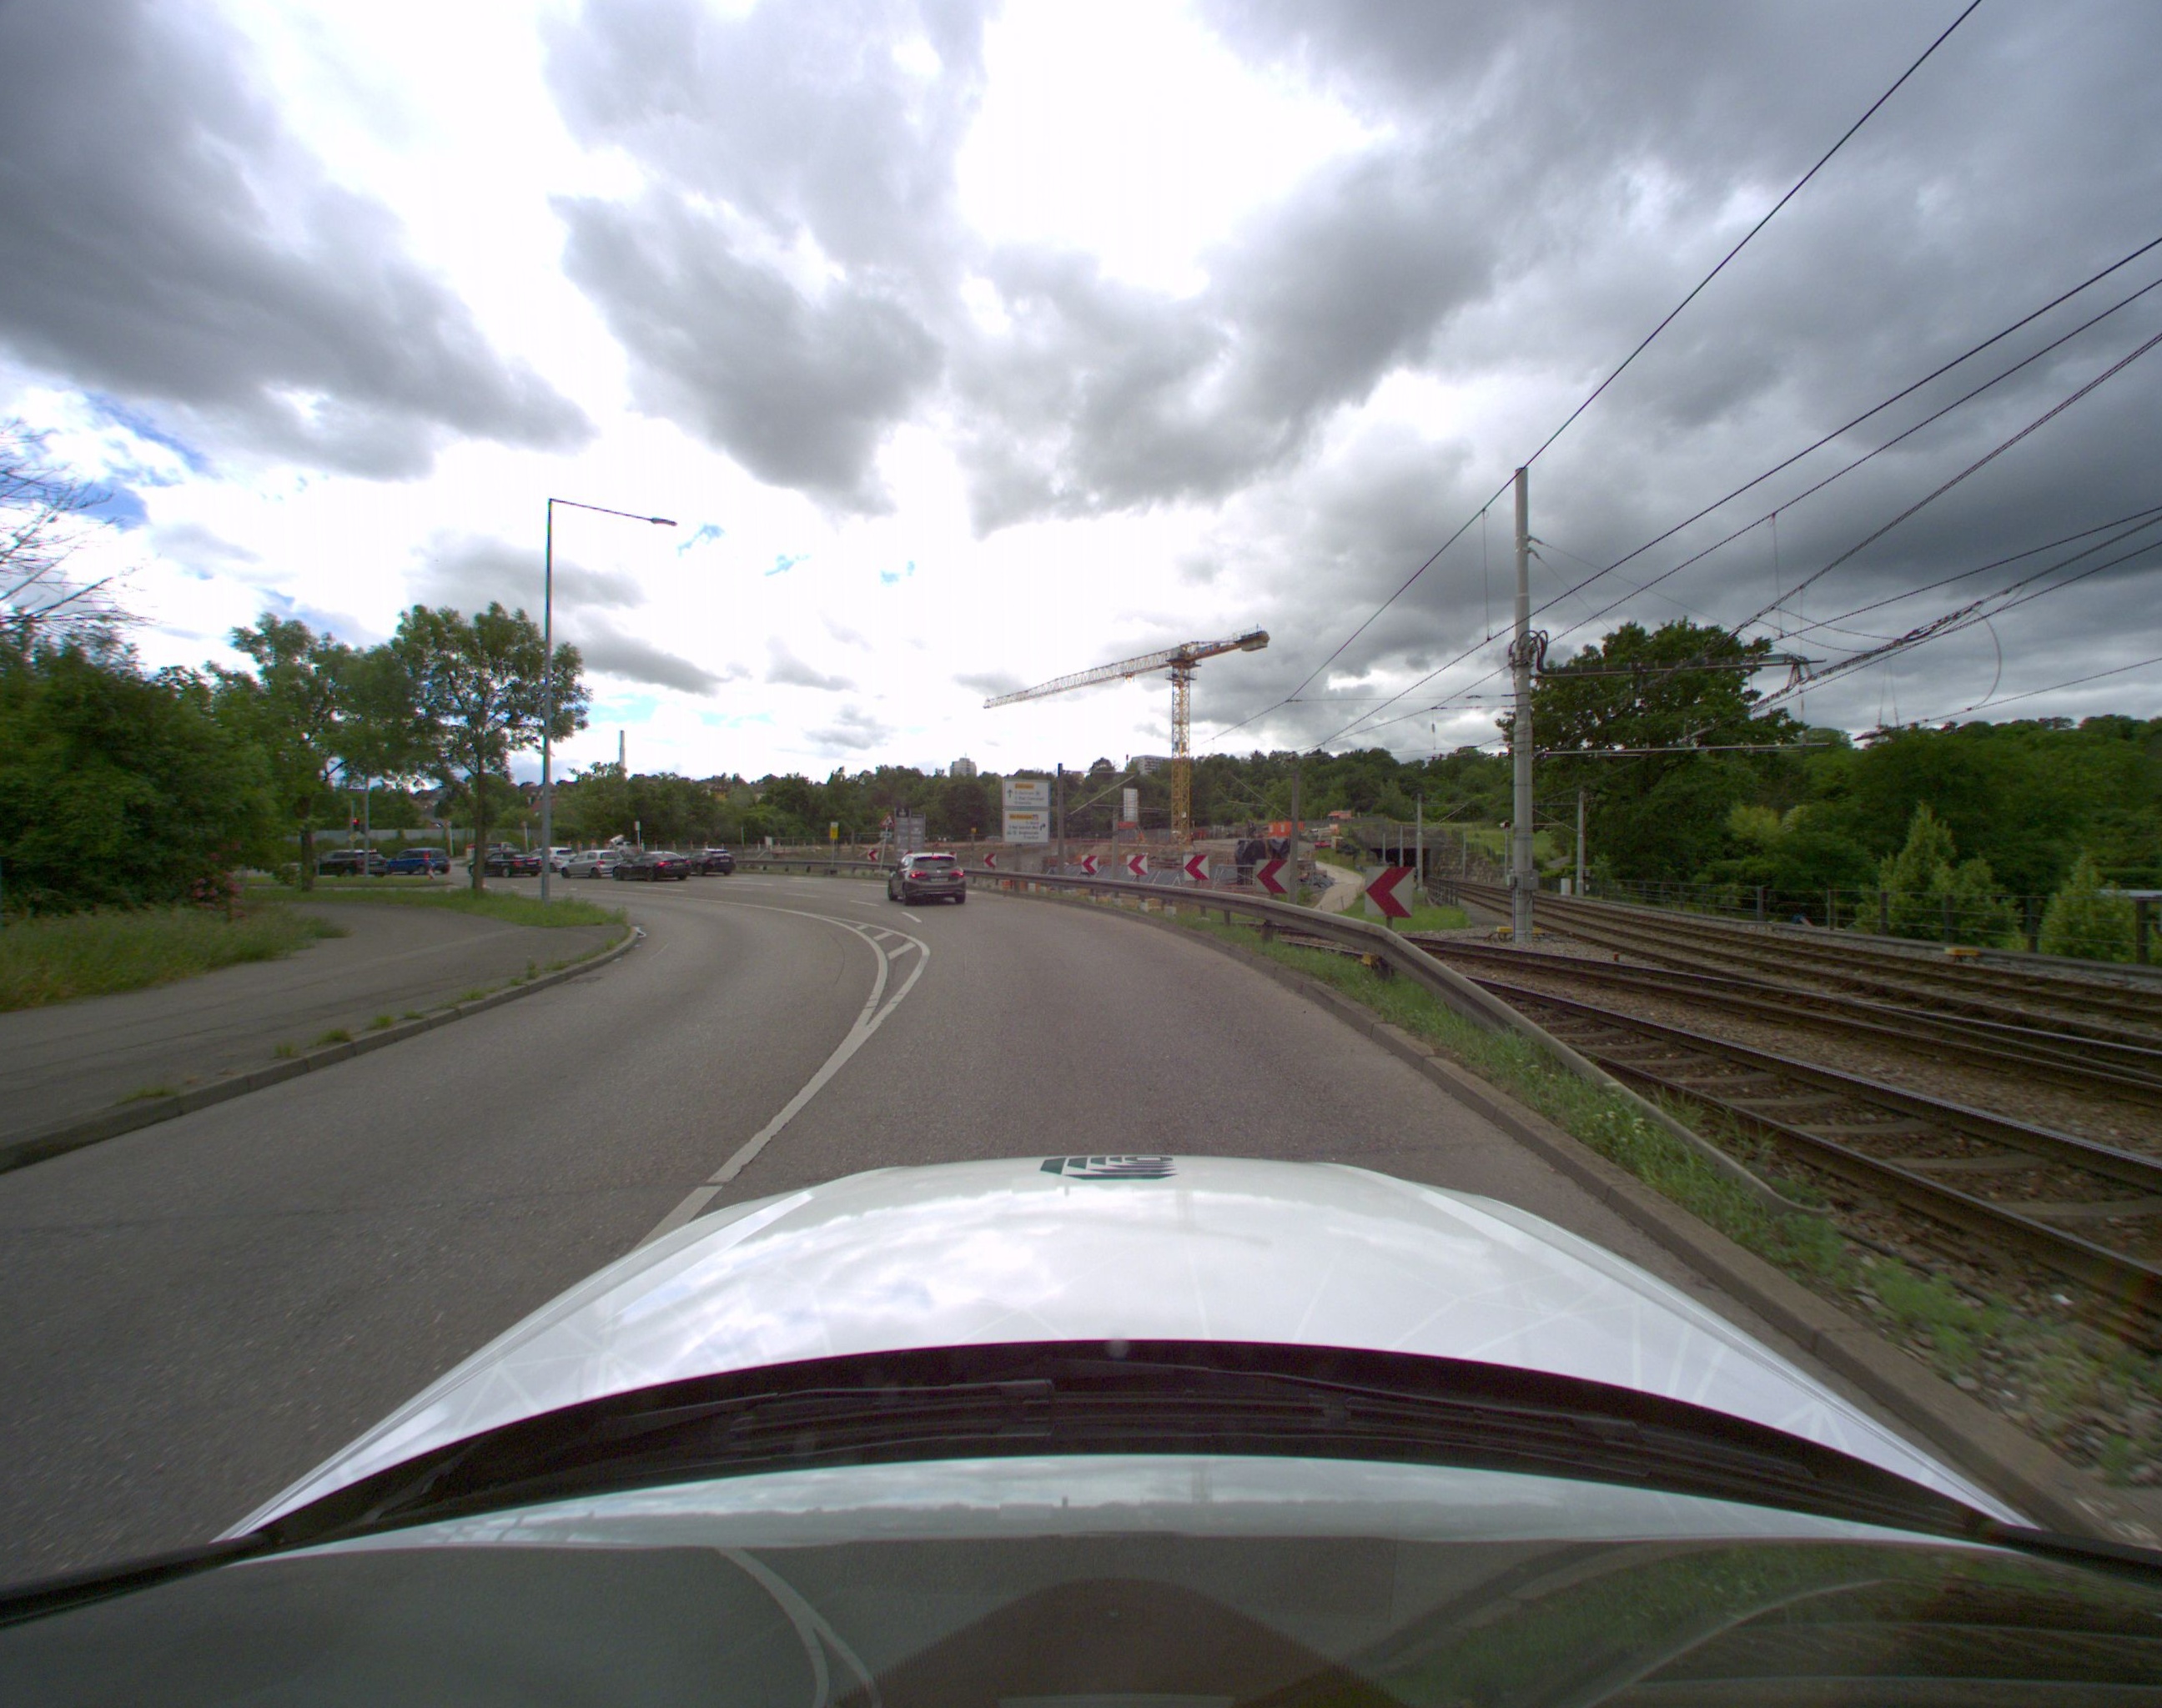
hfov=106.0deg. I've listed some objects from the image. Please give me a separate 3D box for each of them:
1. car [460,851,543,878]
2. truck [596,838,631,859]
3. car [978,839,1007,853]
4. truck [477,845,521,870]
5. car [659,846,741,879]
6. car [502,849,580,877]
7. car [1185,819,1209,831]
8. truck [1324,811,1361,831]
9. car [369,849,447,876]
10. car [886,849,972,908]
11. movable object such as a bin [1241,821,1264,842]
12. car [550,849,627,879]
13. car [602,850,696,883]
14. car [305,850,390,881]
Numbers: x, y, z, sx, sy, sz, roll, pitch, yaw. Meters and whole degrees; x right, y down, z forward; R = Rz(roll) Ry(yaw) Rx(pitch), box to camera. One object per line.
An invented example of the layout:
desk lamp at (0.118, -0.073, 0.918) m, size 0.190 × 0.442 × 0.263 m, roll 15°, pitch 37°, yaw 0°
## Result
car at (-32.494, 0.589, 45.664) m, size 4.038 × 1.367 × 1.576 m, roll -1°, pitch 4°, yaw 18°
truck at (-47.802, -0.576, 83.335) m, size 1.996 × 2.014 × 3.981 m, roll 2°, pitch -1°, yaw -14°
car at (-13.678, -1.271, 125.729) m, size 4.022 × 2.013 × 1.976 m, roll -1°, pitch 0°, yaw -42°
truck at (-49.429, 0.349, 69.203) m, size 1.734 × 2.014 × 3.217 m, roll 1°, pitch -1°, yaw -9°
car at (-21.011, 0.427, 44.870) m, size 4.151 × 1.636 × 1.891 m, roll 0°, pitch 3°, yaw 28°
car at (-33.401, 0.541, 50.372) m, size 3.959 × 1.675 × 1.723 m, roll -1°, pitch 0°, yaw 13°
car at (20.910, -5.169, 146.624) m, size 4.014 × 2.013 × 1.980 m, roll -1°, pitch 0°, yaw -32°
truck at (59.462, -7.444, 184.859) m, size 9.840 × 4.220 × 3.085 m, roll -1°, pitch 1°, yaw -38°
car at (-39.405, 0.465, 47.715) m, size 3.351 × 1.507 × 1.552 m, roll 0°, pitch 2°, yaw 7°
car at (-4.751, 0.660, 25.040) m, size 1.805 × 1.552 × 3.971 m, roll -1°, pitch 2°, yaw -22°
movable object such as a bin at (26.045, -3.375, 123.677) m, size 1.849 × 3.077 × 2.770 m, roll -1°, pitch 0°, yaw -35°
car at (-26.720, 0.503, 44.175) m, size 3.585 × 1.469 × 1.684 m, roll 0°, pitch 4°, yaw 23°
car at (-22.058, 0.597, 41.512) m, size 4.900 × 1.476 × 1.891 m, roll 0°, pitch 3°, yaw 31°
car at (-40.104, 0.604, 44.565) m, size 3.728 × 1.507 × 1.669 m, roll 0°, pitch 4°, yaw 17°
